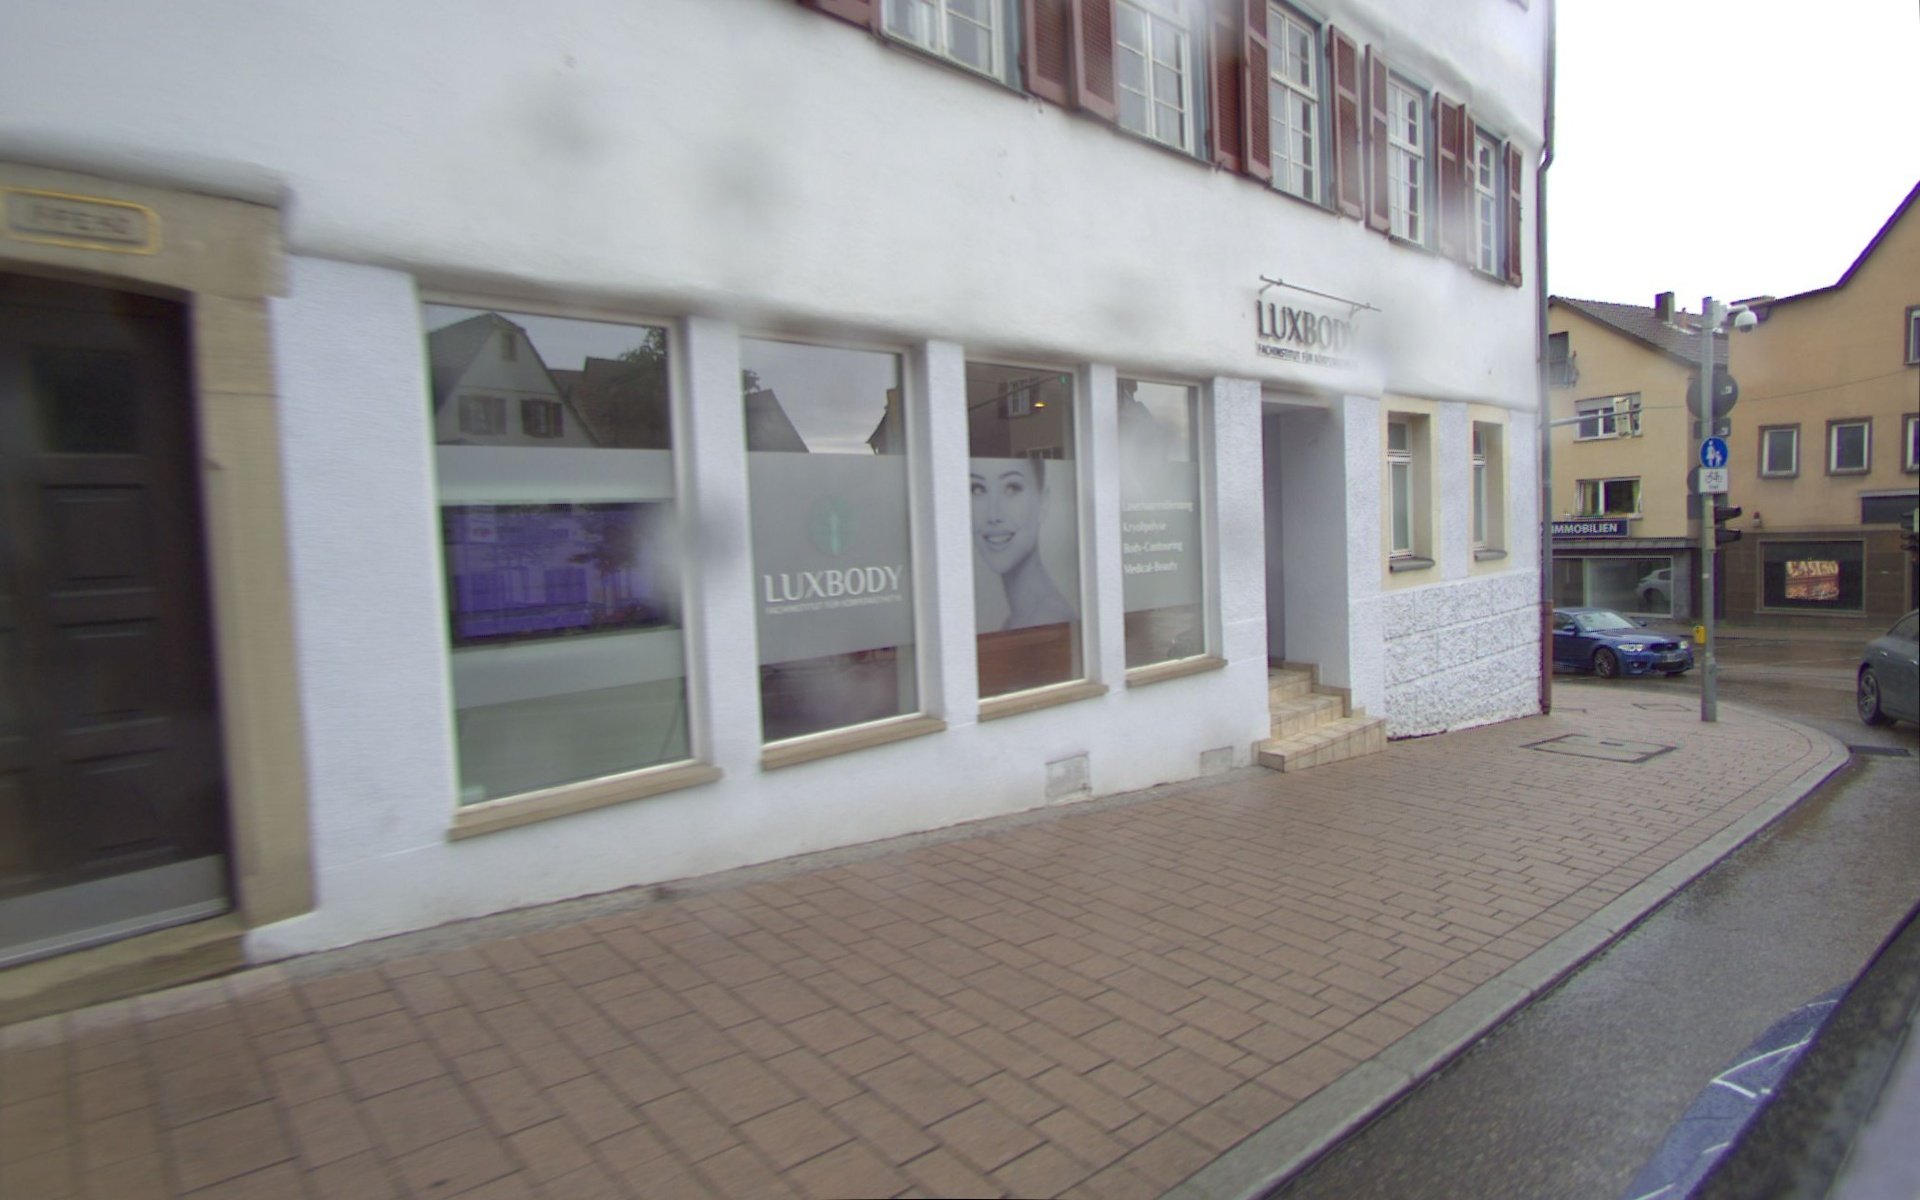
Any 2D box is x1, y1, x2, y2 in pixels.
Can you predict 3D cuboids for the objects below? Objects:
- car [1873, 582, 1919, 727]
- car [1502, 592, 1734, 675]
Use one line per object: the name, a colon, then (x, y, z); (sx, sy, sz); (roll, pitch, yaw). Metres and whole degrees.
car: (11.129, 0.622, 10.242); (1.984, 1.511, 4.268); (-1, 2, 31)
car: (14.113, 0.666, 22.068); (1.739, 1.552, 4.383); (-2, 0, -8)
